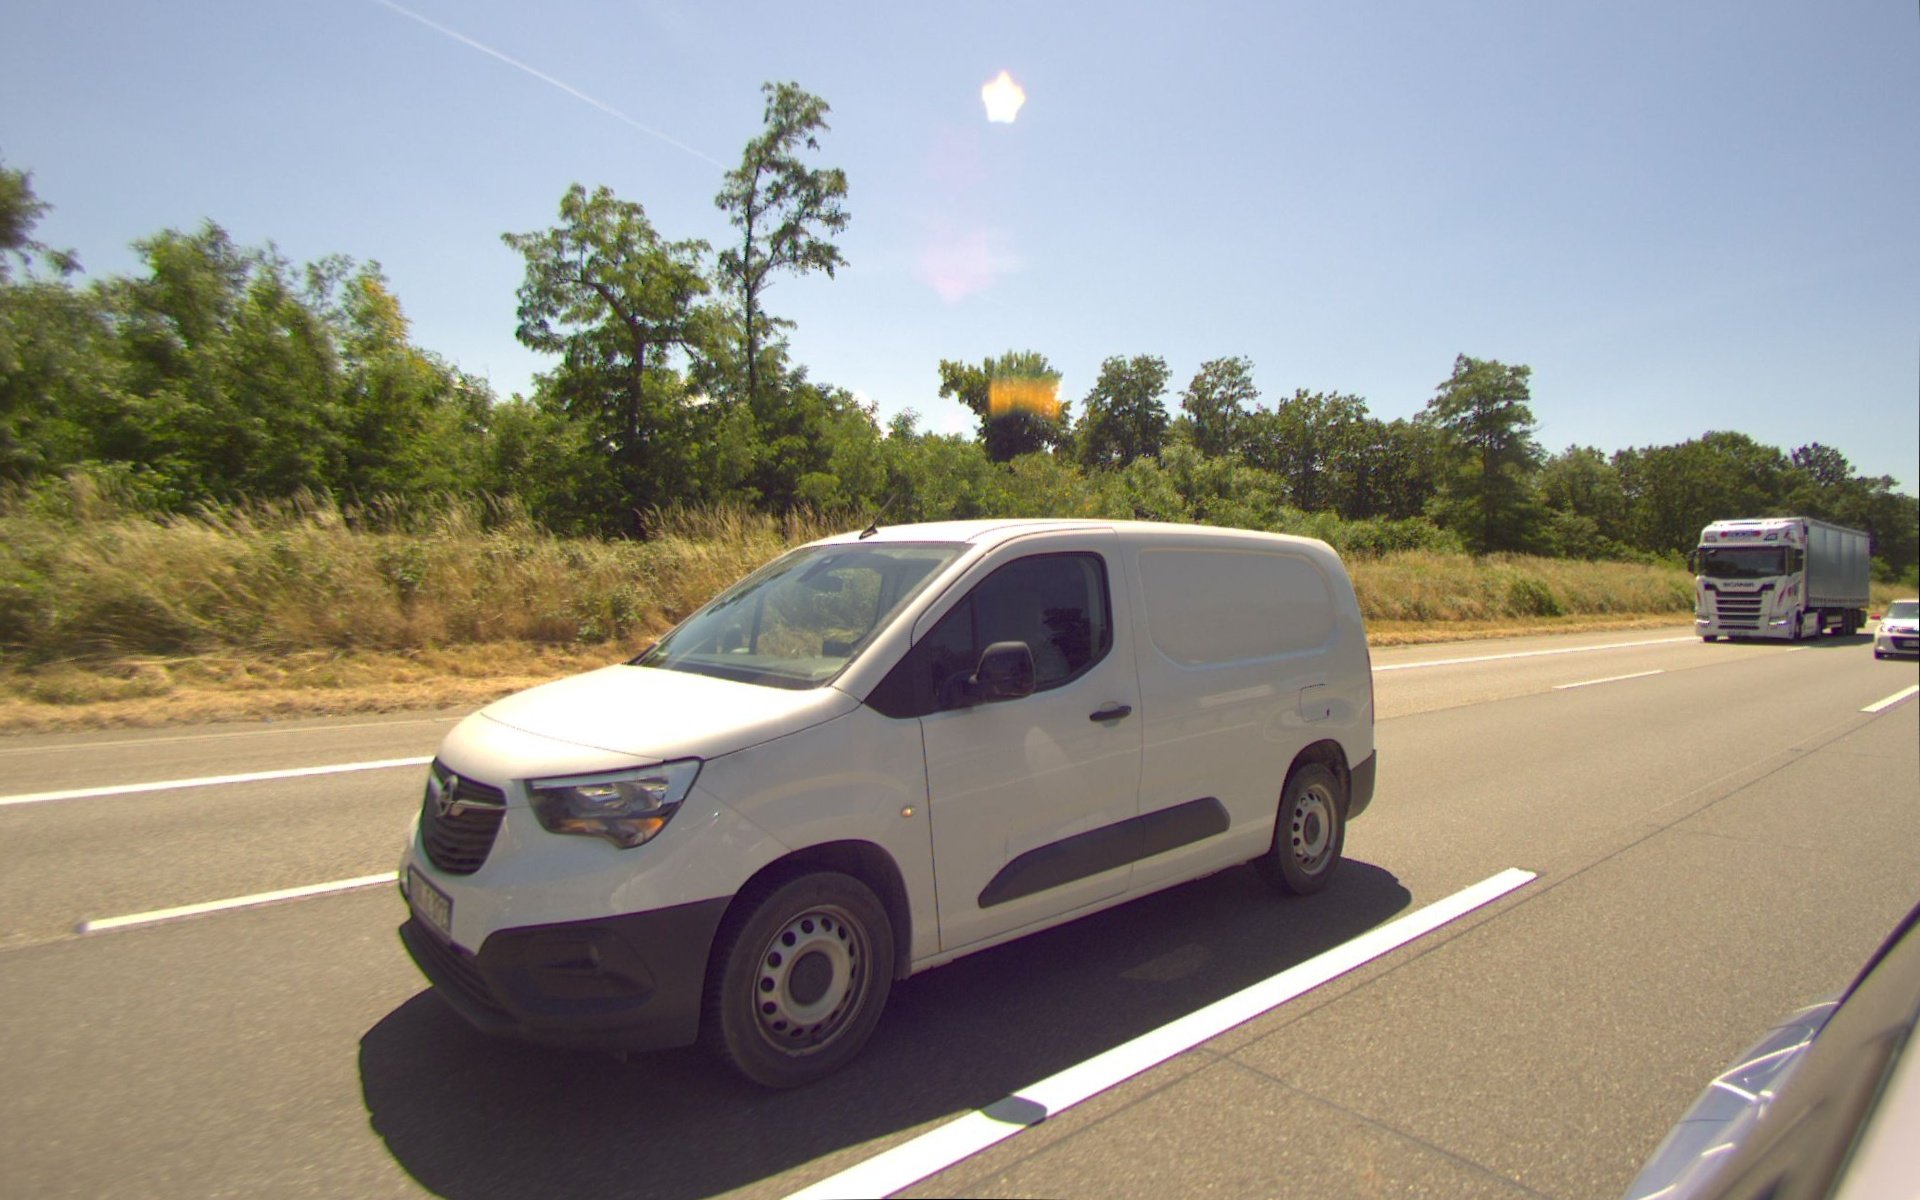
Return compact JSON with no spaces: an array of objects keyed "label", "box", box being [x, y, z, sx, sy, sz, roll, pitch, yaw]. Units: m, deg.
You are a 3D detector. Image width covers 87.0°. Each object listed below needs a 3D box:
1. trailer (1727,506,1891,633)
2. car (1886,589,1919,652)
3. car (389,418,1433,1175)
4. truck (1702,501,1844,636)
[{"label":"trailer","box":[32.140,-1.029,37.969,13.835,4.053,2.601,-1,0,-41]},{"label":"car","box":[23.545,0.463,24.302,3.294,1.438,1.580,0,0,-41]},{"label":"car","box":[0.232,0.455,4.786,4.855,1.840,1.869,-1,0,-42]},{"label":"truck","box":[26.865,-0.976,33.347,6.066,4.053,2.601,0,0,-41]}]
